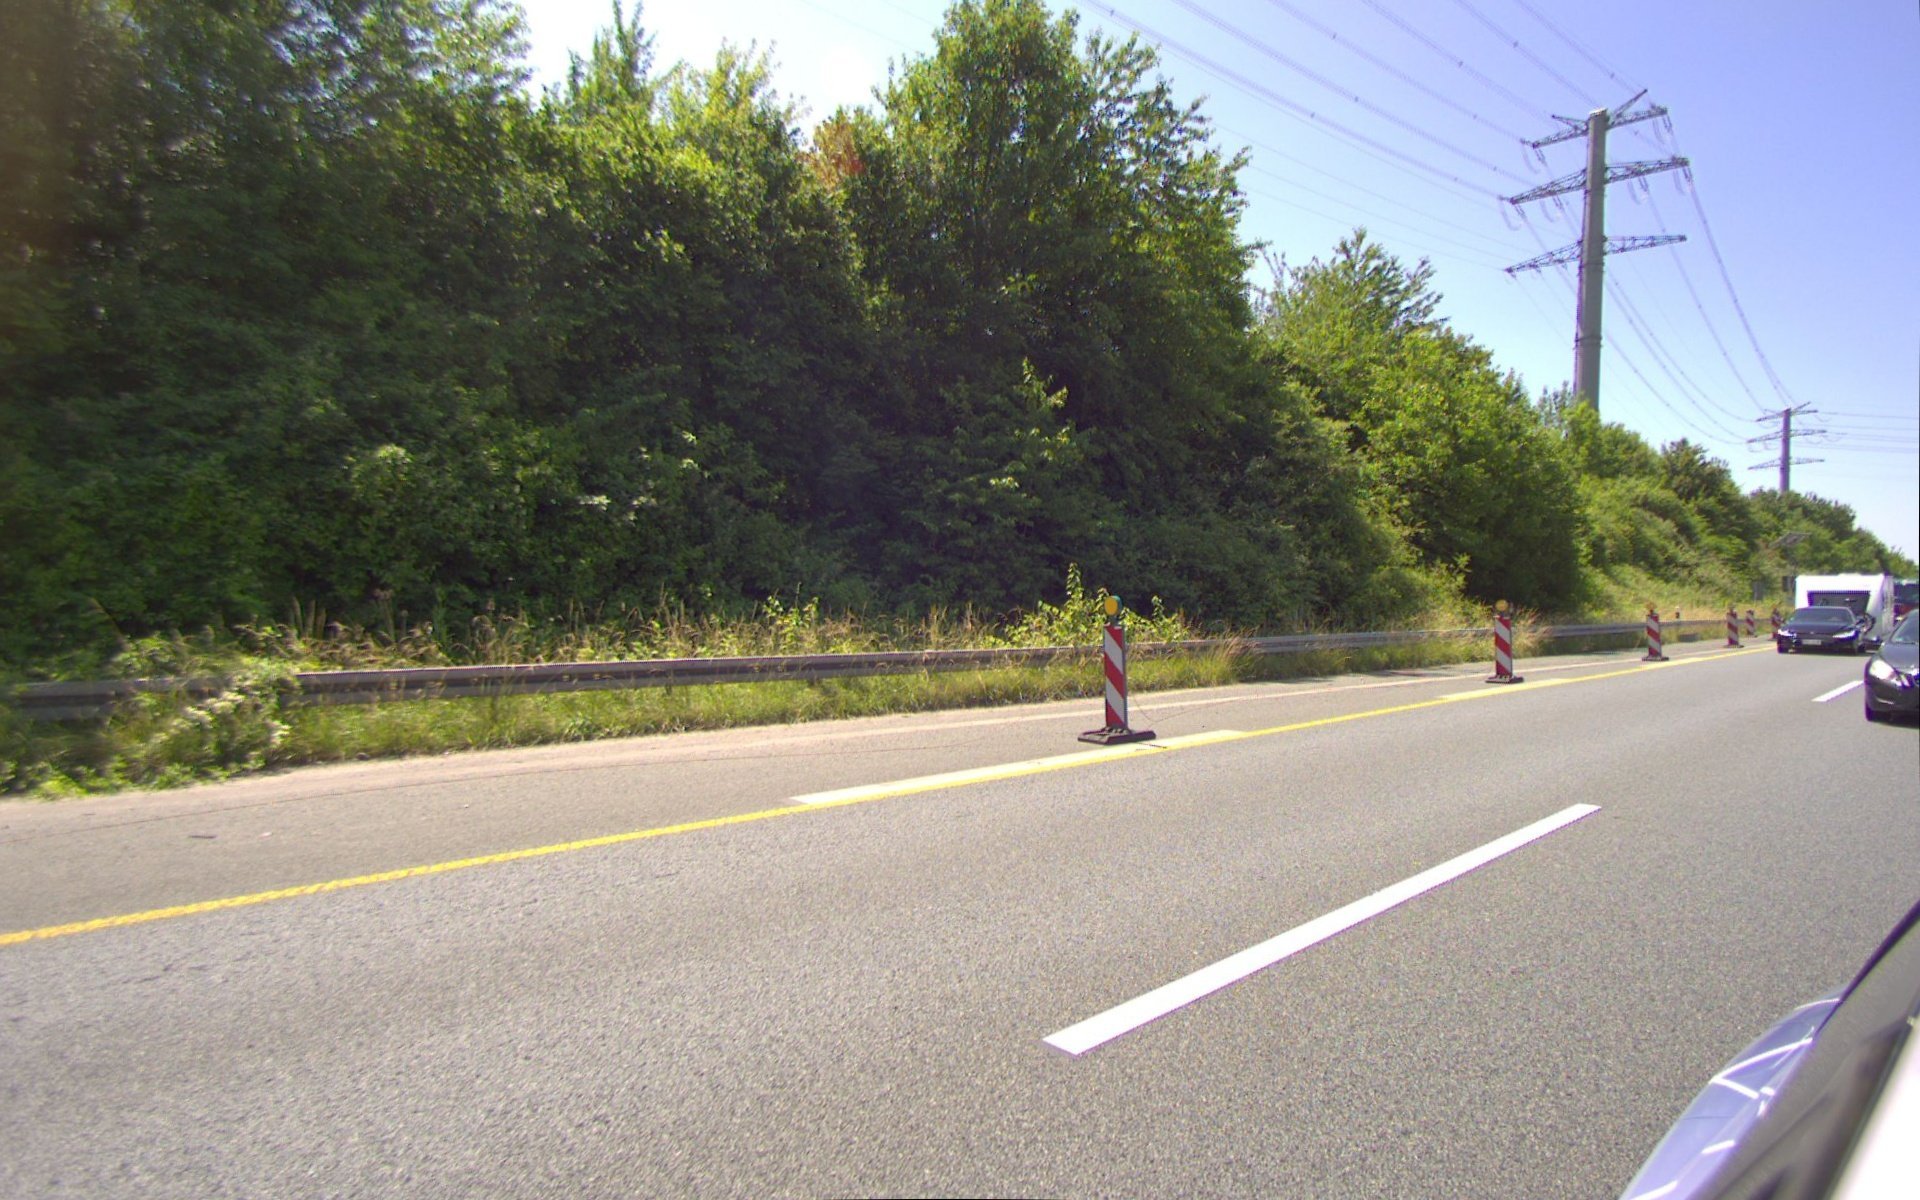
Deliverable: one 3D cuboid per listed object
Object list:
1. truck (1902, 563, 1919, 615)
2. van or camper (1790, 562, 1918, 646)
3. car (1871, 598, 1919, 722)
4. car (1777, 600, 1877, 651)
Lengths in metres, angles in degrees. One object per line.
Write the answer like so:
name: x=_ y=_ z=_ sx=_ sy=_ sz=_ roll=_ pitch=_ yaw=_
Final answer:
truck: x=61.917 y=-0.653 z=64.013 sx=7.512 sy=3.181 sz=2.429 roll=0 pitch=-2 yaw=-40
van or camper: x=31.031 y=0.129 z=34.994 sx=8.273 sy=2.597 sz=2.429 roll=0 pitch=0 yaw=-42
car: x=13.122 y=0.721 z=12.942 sx=3.931 sy=1.459 sz=1.797 roll=0 pitch=0 yaw=-42
car: x=26.445 y=0.725 z=30.825 sx=4.137 sy=1.425 sz=1.798 roll=0 pitch=0 yaw=-42
